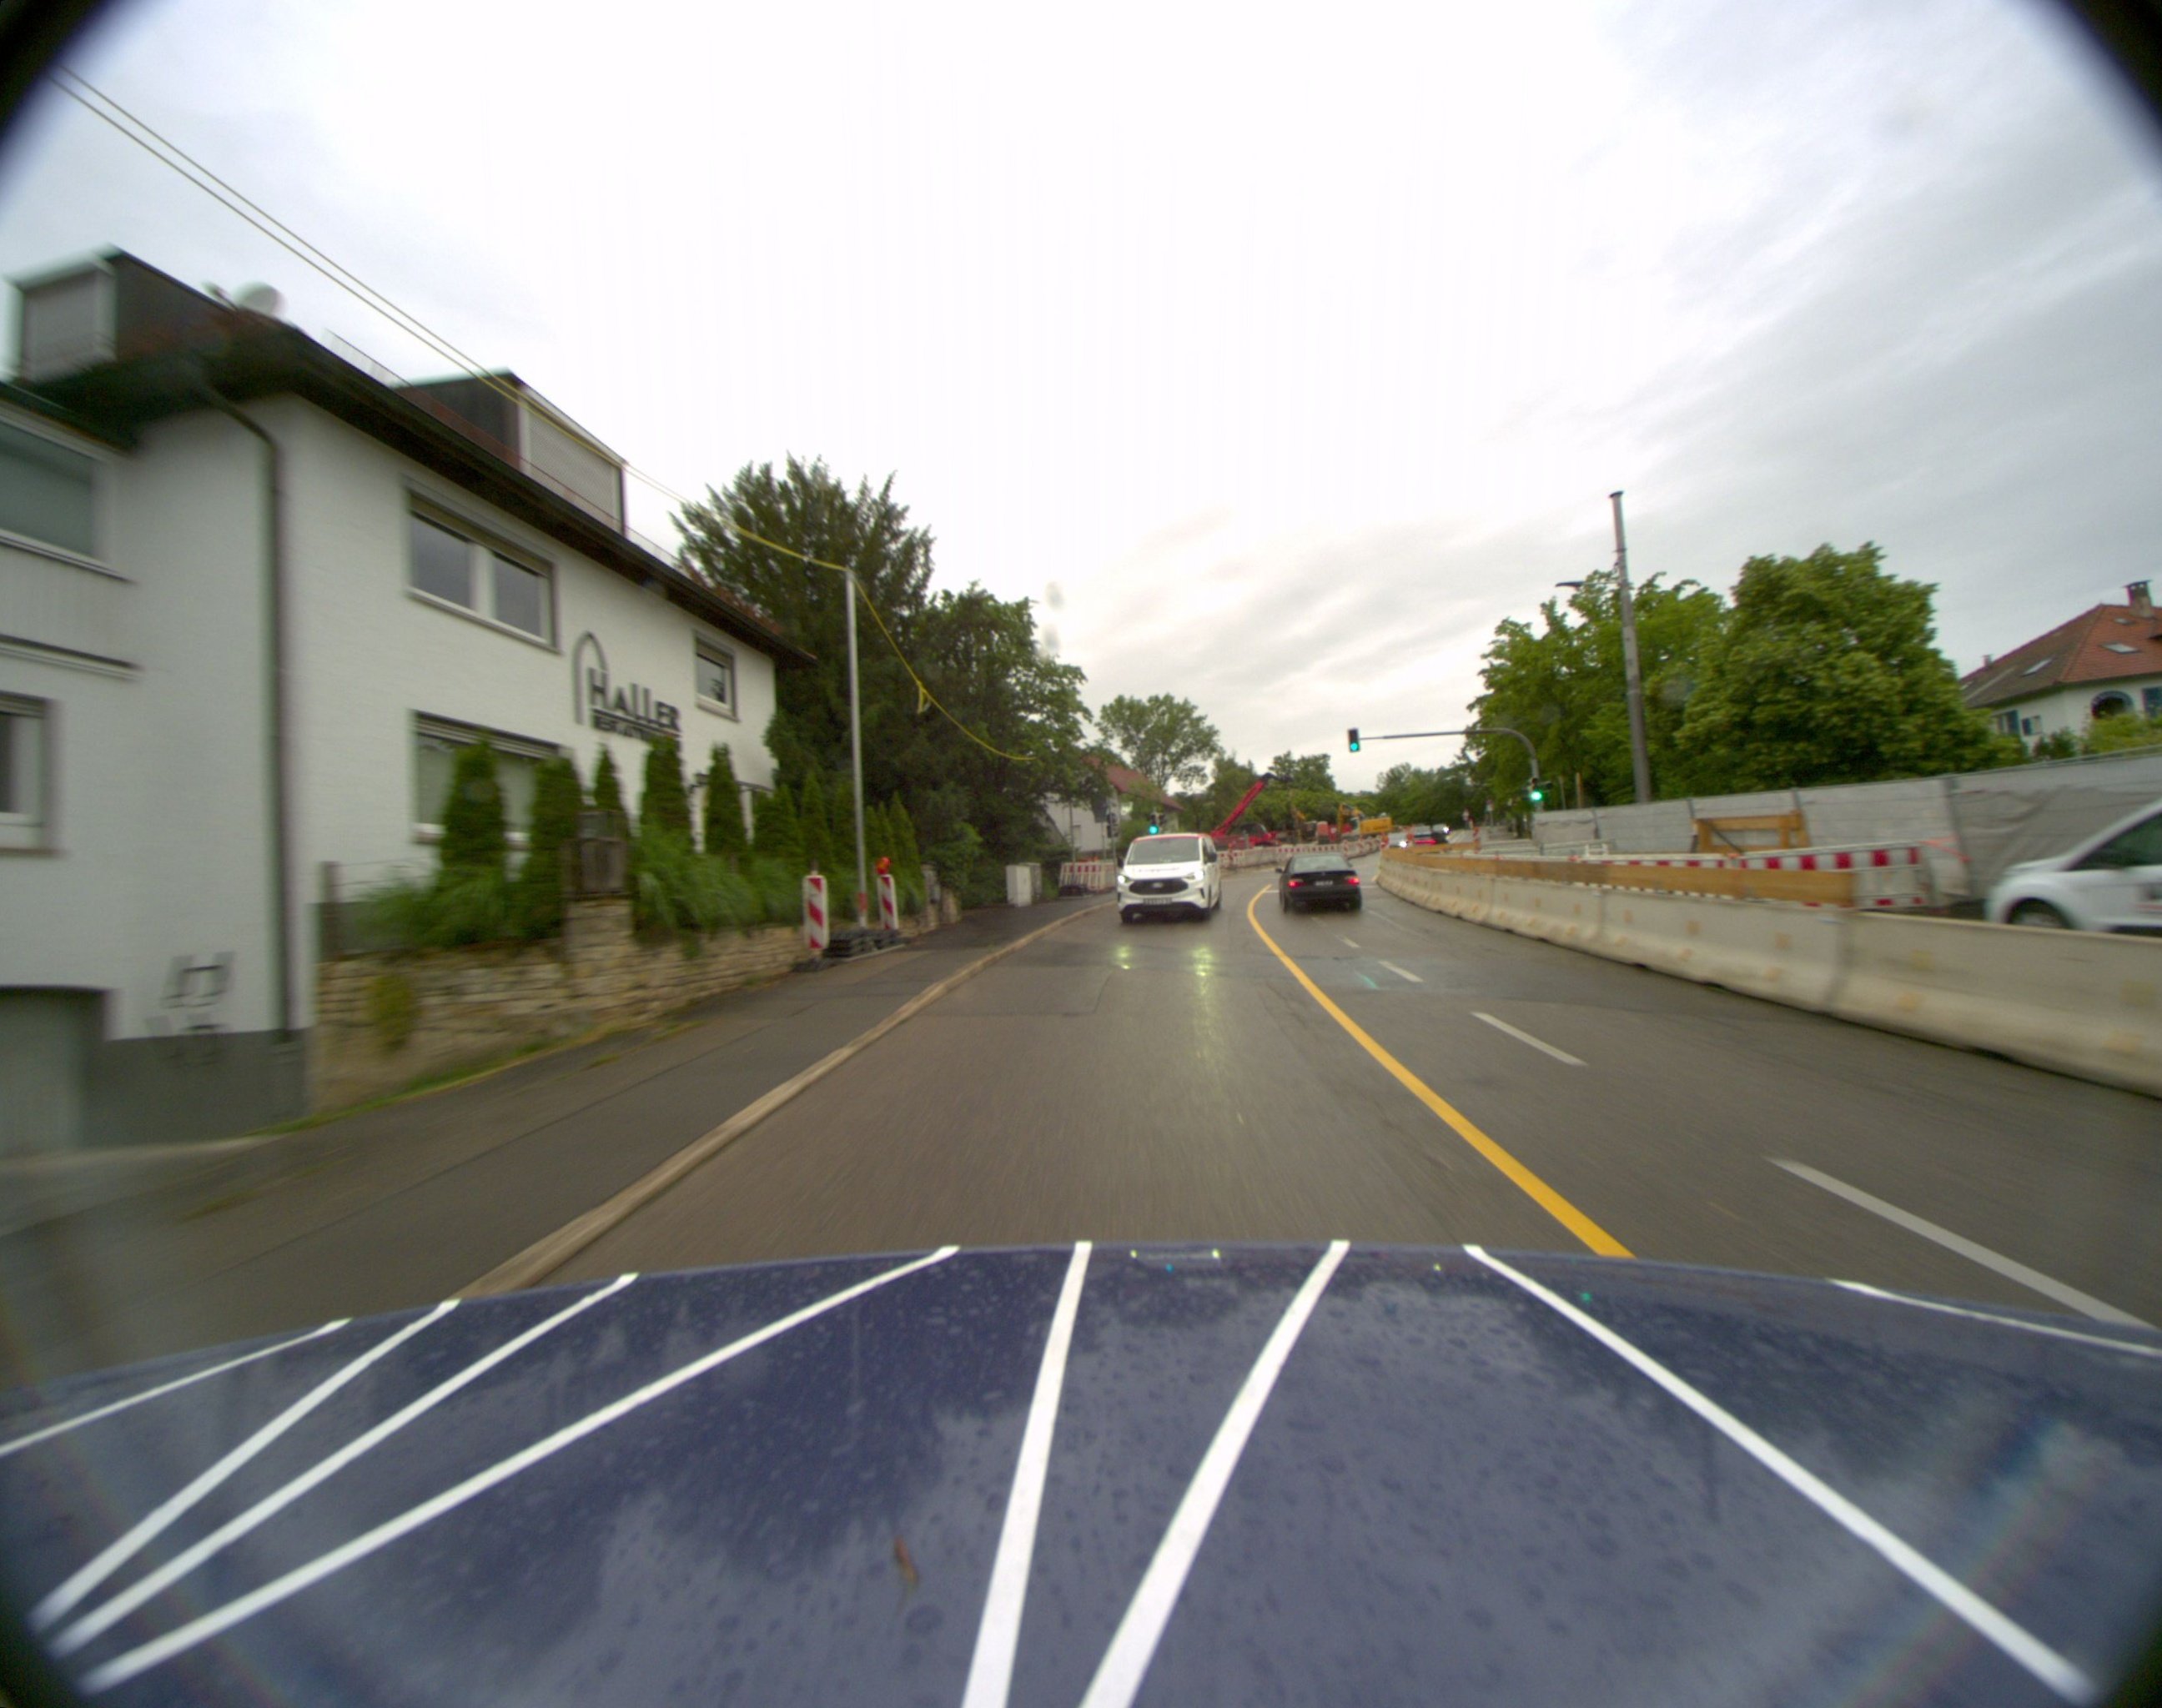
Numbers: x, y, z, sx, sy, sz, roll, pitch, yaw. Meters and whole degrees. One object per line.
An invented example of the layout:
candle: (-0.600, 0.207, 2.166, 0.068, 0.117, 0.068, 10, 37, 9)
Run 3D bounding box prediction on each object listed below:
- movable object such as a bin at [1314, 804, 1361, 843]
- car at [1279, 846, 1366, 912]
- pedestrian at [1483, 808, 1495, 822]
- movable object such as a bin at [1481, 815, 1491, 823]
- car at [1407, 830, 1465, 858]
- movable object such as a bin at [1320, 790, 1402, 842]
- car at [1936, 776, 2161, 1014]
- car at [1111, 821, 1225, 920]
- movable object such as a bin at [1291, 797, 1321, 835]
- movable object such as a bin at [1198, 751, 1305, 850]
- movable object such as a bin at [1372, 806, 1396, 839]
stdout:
movable object such as a bin: (25.377, -2.989, 75.216, 3.992, 3.182, 2.412, -6, -5, 19)
car: (5.704, 0.514, 18.326, 1.650, 1.304, 4.266, 0, 2, 13)
pedestrian: (54.954, -5.240, 102.287, 0.925, 1.757, 0.980, -5, 0, -1)
movable object such as a bin: (57.660, -4.957, 108.179, 0.988, 1.100, 1.028, -4, -1, 9)
car: (21.329, -0.610, 45.568, 1.785, 1.395, 4.373, -4, 0, 43)
movable object such as a bin: (29.544, -3.955, 80.962, 3.066, 4.892, 10.808, -7, 3, -7)
car: (10.020, 0.337, 5.826, 1.997, 2.000, 4.814, 2, -4, 10)
car: (2.227, 0.308, 18.086, 1.996, 2.002, 4.953, -1, 1, 14)
movable object such as a bin: (24.749, -4.179, 83.377, 1.996, 3.866, 4.623, -6, 0, 26)
movable object such as a bin: (13.181, -3.996, 58.659, 6.957, 6.651, 3.049, -5, 1, 25)
movable object such as a bin: (33.333, -3.509, 83.541, 1.996, 3.287, 3.839, -5, 3, 25)
